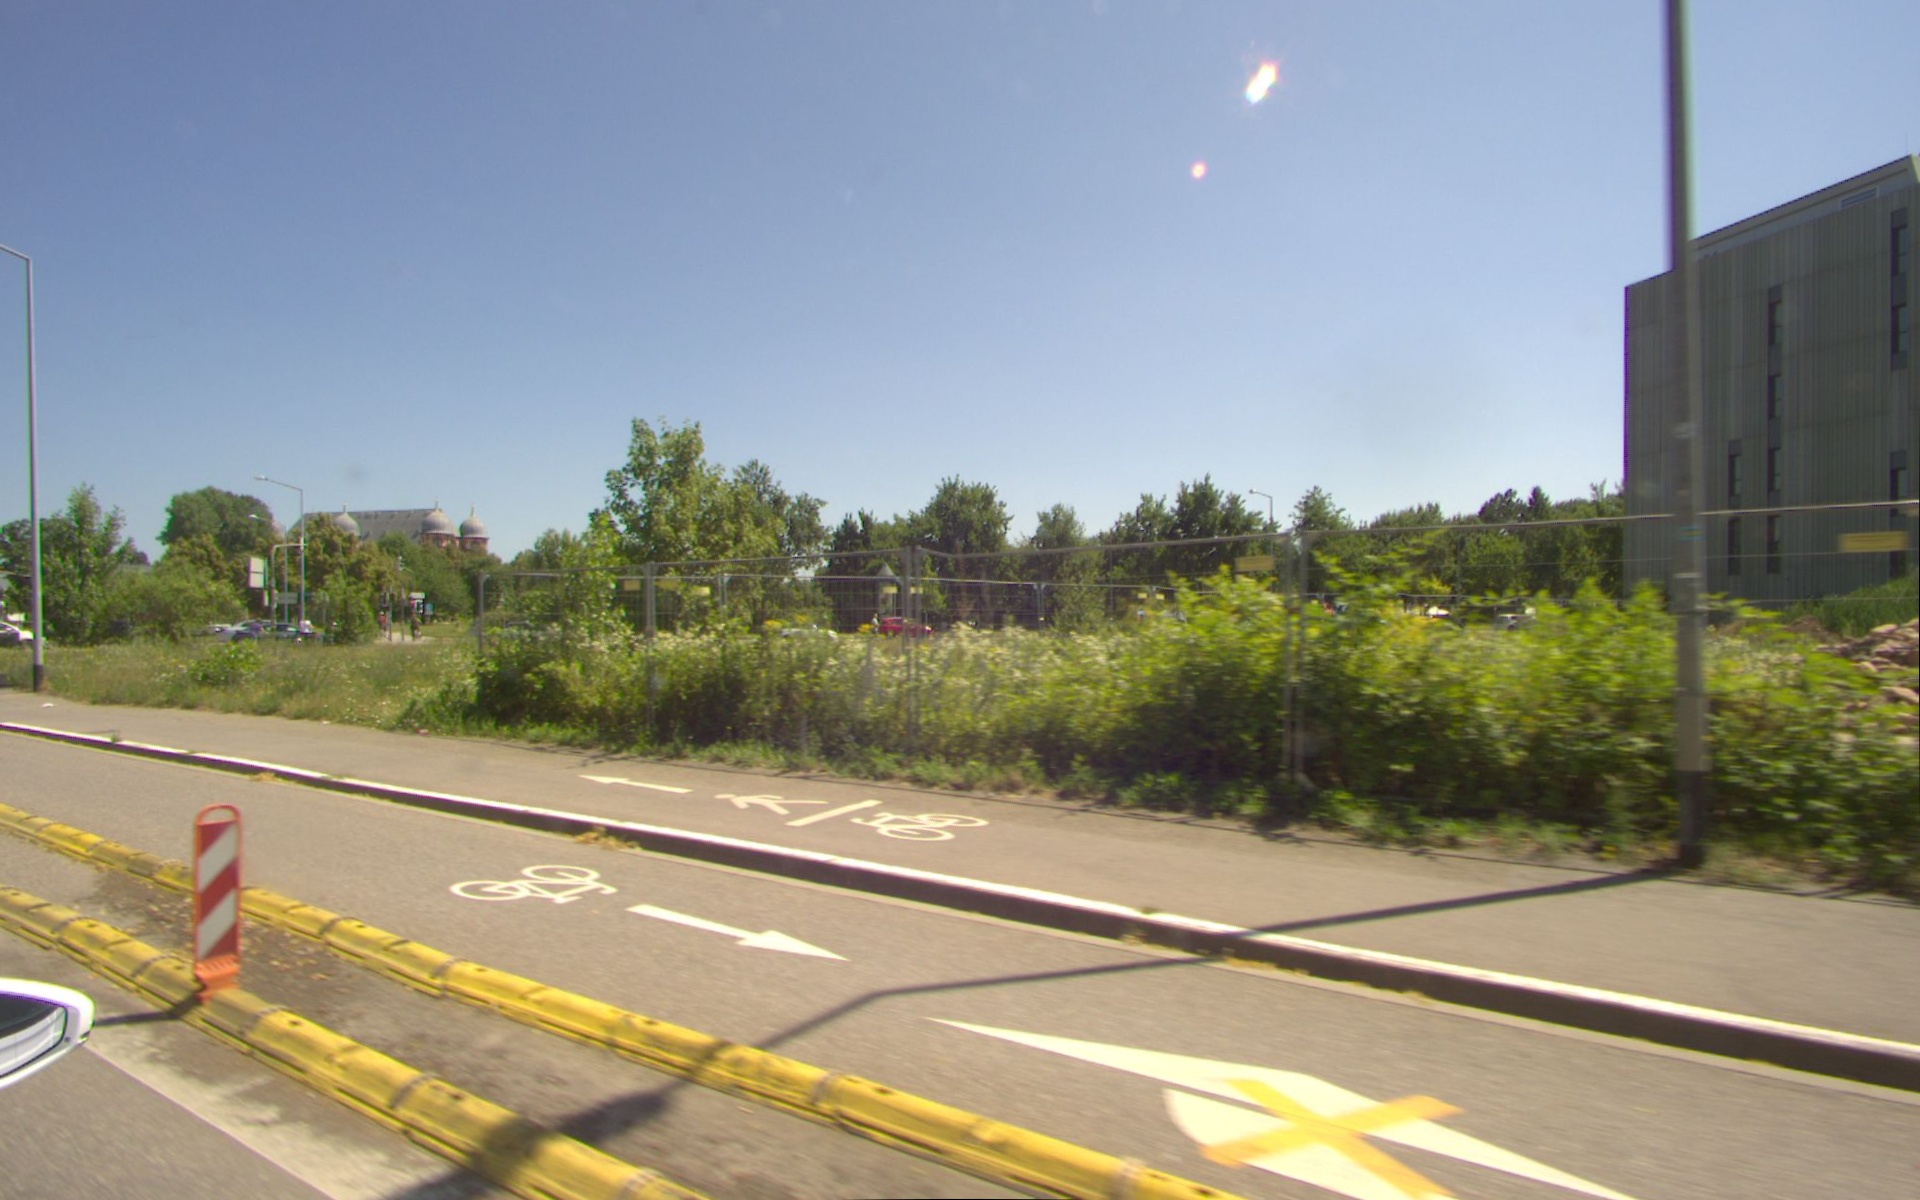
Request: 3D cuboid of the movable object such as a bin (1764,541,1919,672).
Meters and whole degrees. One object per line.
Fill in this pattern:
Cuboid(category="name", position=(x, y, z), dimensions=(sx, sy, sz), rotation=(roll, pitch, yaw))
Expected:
Cuboid(category="movable object such as a bin", position=(27.833, 0.164, 25.927), dimensions=(10.315, 3.302, 4.932), rotation=(-1, -1, 31))

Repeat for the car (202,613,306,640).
Cuboid(category="car", position=(-36.985, 1.364, 52.479), dimensions=(4.402, 1.375, 1.525), rotation=(1, -1, -38))

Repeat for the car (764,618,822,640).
Cuboid(category="car", position=(-10.427, 1.772, 62.565), dimensions=(3.407, 1.335, 1.320), rotation=(0, 0, -17))

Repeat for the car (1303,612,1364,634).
Cuboid(category="car", position=(28.345, 1.734, 76.020), dimensions=(3.926, 1.605, 1.882), rotation=(0, -1, -12))

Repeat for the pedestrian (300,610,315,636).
Cuboid(category="pedestrian", position=(-32.912, 1.151, 50.497), dimensions=(0.538, 1.328, 0.602), rotation=(0, 0, -26))

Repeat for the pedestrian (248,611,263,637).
Cuboid(category="pedestrian", position=(-35.296, 1.204, 50.141), dimensions=(0.597, 1.328, 0.542), rotation=(0, 0, -37))

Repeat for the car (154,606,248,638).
Cuboid(category="car", position=(-42.884, 1.217, 56.637), dimensions=(1.548, 1.767, 4.054), rotation=(0, -1, 40))

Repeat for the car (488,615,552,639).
Cuboid(category="car", position=(-25.527, 1.546, 58.210), dimensions=(3.269, 1.376, 1.394), rotation=(0, 0, -17))

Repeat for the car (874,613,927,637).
Cuboid(category="car", position=(-4.199, 1.747, 70.560), dimensions=(3.484, 1.639, 1.791), rotation=(0, 0, -12))

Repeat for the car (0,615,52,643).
Cuboid(category="car", position=(-44.406, 1.334, 46.412), dimensions=(3.413, 1.292, 1.191), rotation=(1, -1, -42))
